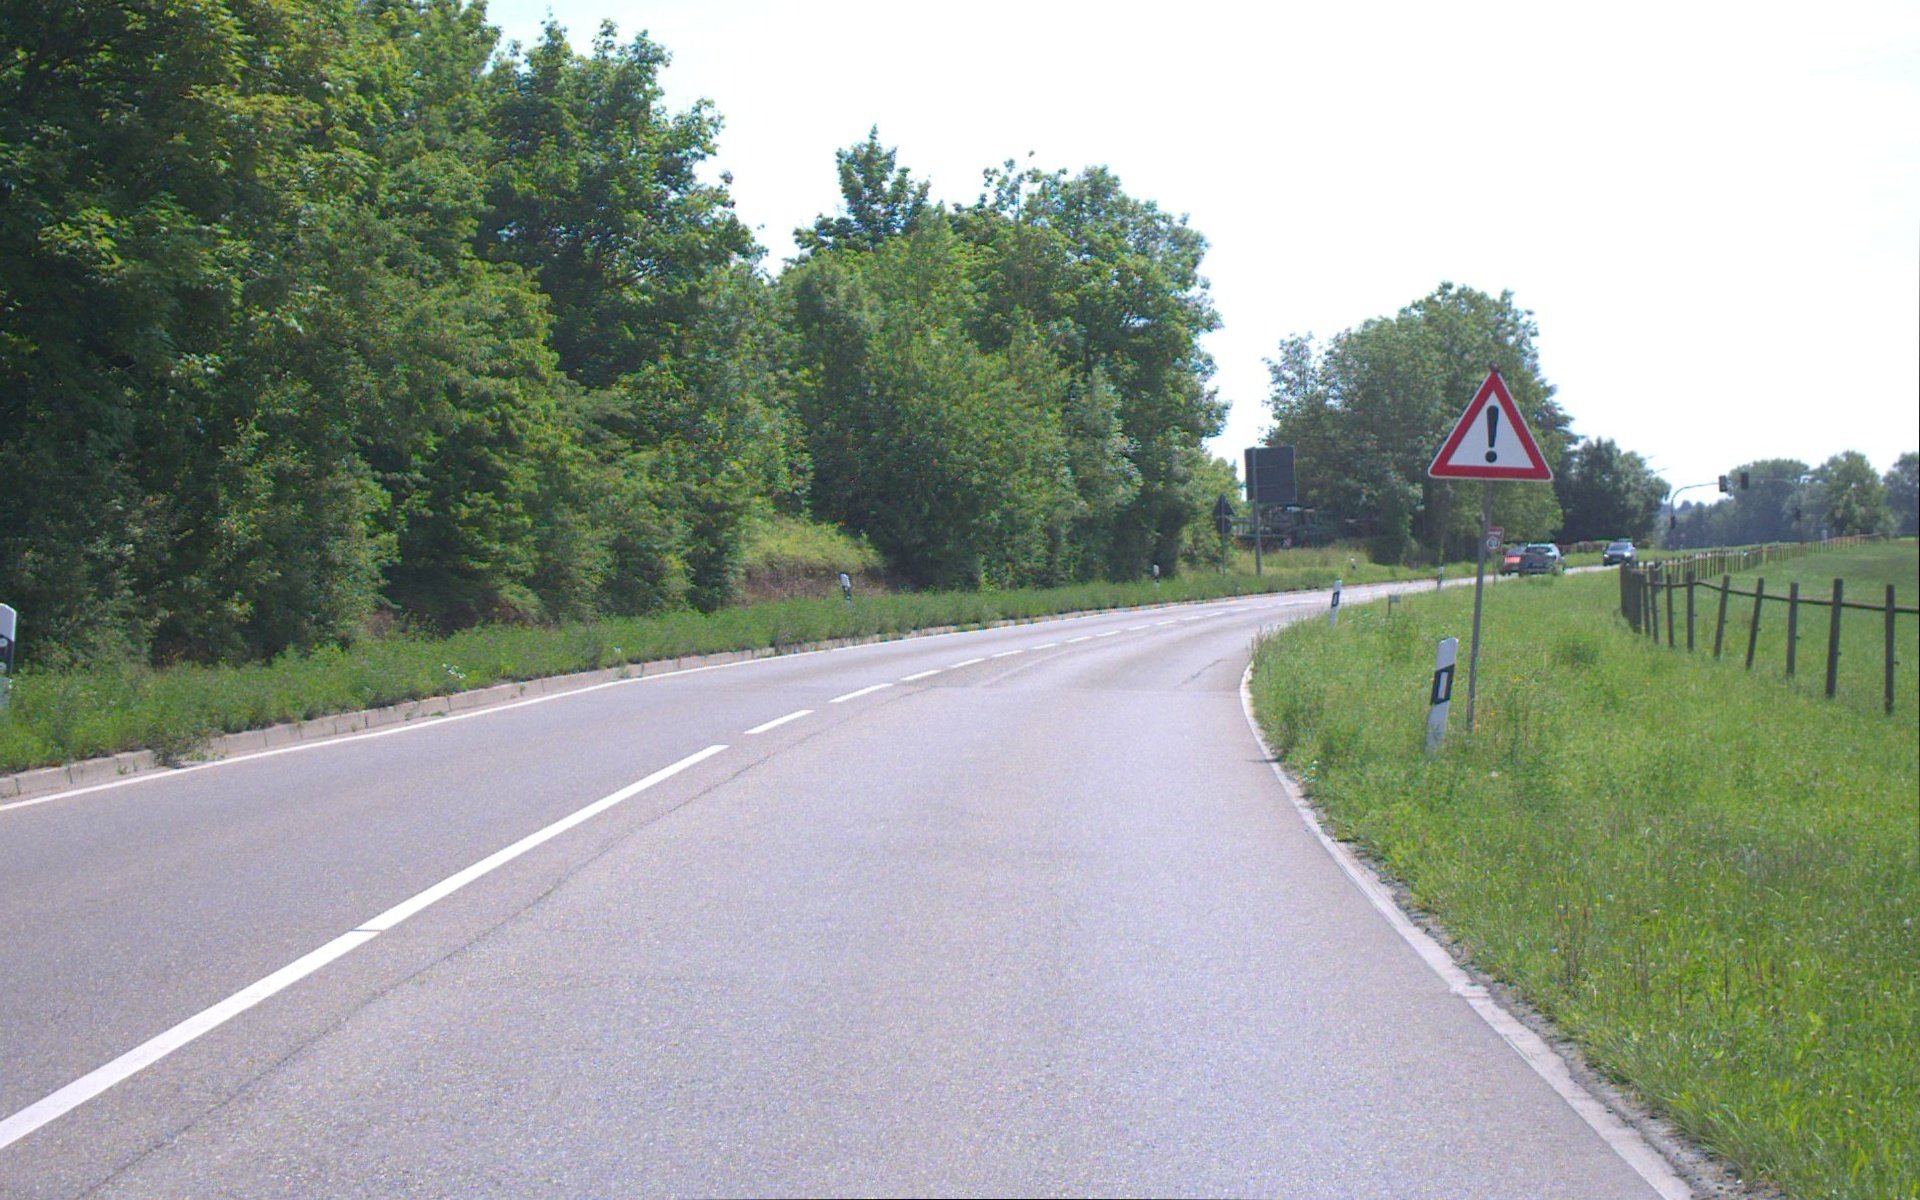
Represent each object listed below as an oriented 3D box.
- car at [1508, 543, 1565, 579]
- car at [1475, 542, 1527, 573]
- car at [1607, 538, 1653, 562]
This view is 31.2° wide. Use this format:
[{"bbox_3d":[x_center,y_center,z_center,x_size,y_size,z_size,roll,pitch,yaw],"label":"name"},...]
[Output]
[{"bbox_3d":[26.122,-1.779,155.794,1.995,1.568,3.997,1,1,17],"label":"car"},{"bbox_3d":[27.099,-2.131,172.123,1.823,1.464,3.996,1,1,20],"label":"car"},{"bbox_3d":[42.345,-3.133,217.225,1.824,1.464,3.994,2,1,28],"label":"car"}]
